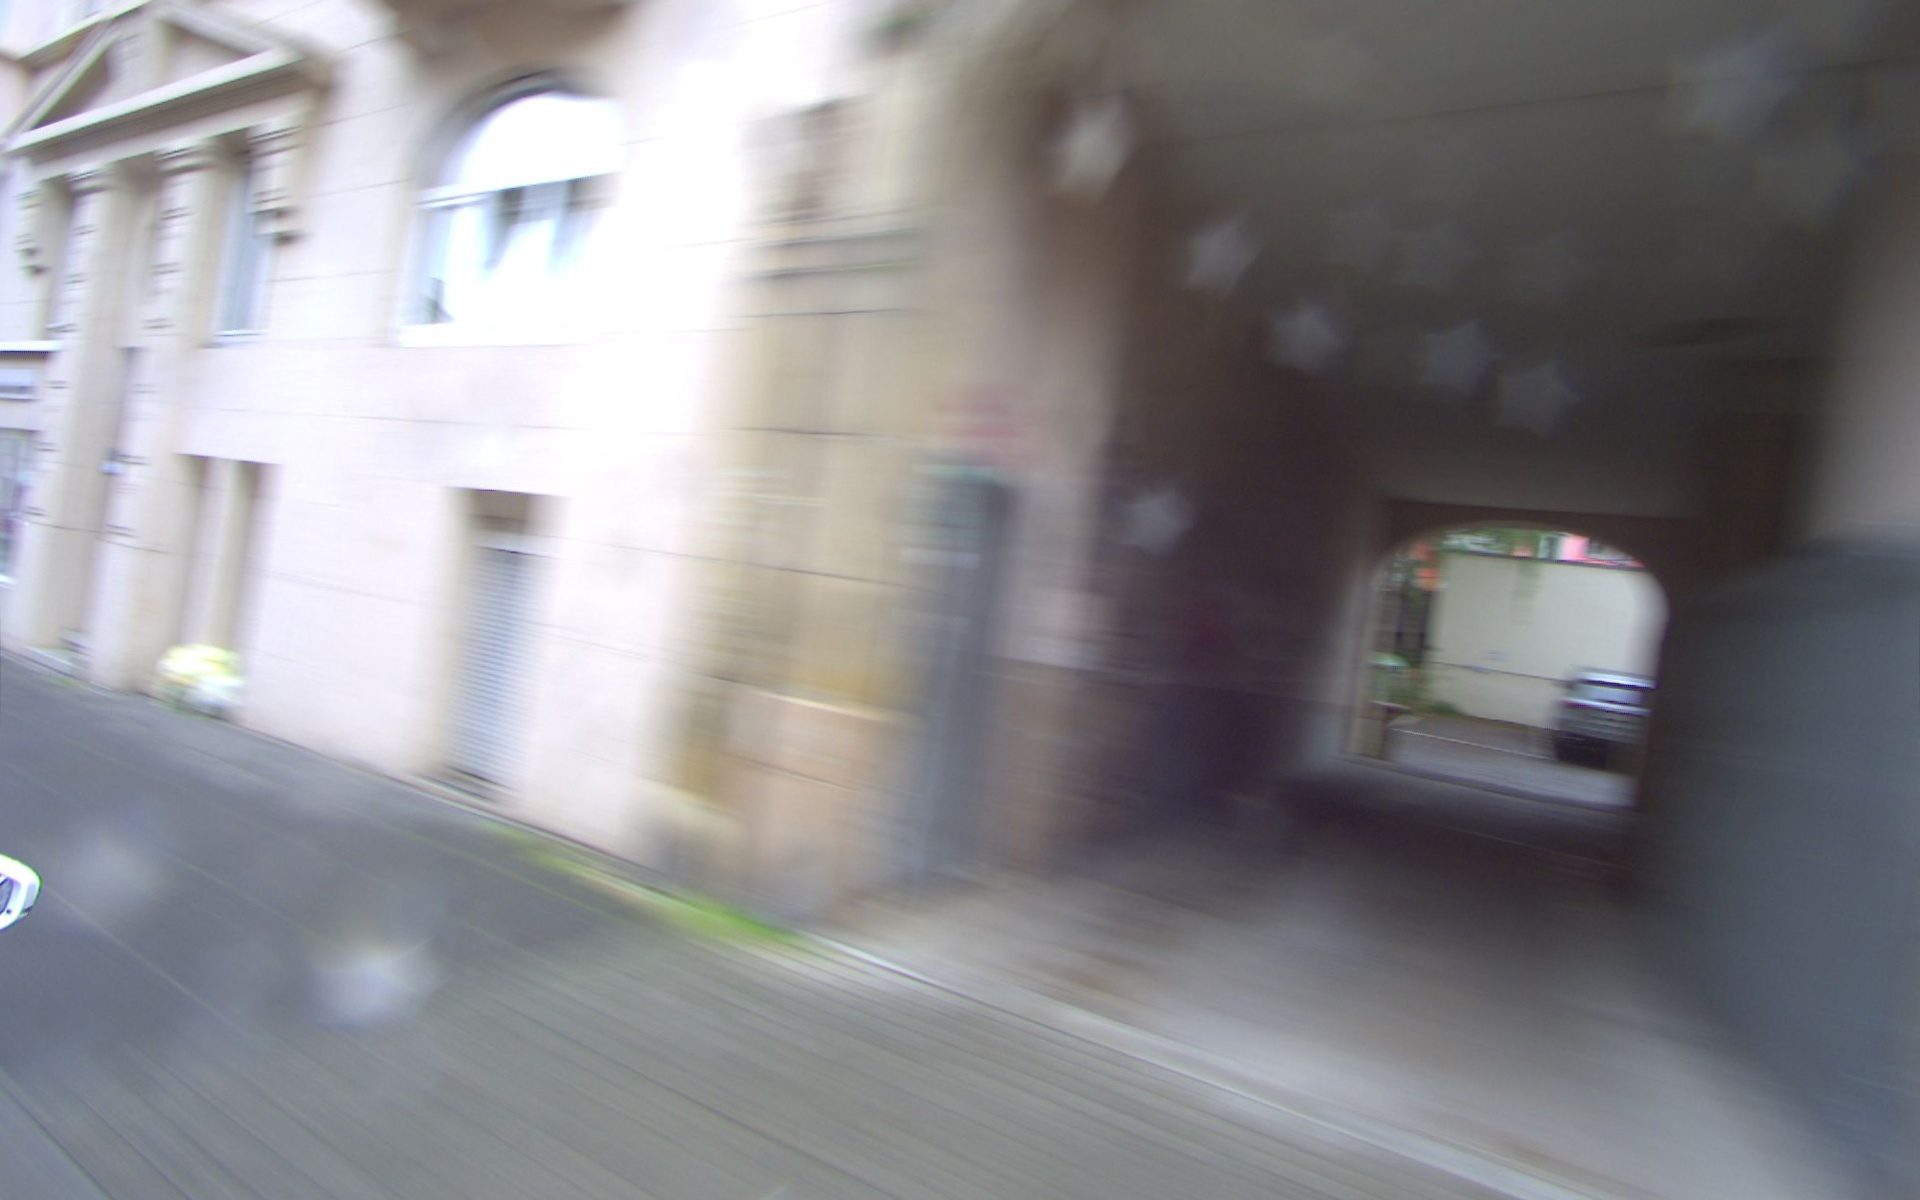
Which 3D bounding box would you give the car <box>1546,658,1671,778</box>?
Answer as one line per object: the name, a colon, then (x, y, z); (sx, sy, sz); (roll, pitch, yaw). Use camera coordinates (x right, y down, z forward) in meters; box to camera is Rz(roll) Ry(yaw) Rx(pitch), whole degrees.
car: (13.392, 2.329, 20.950); (1.802, 1.819, 3.985); (8, 4, 31)
